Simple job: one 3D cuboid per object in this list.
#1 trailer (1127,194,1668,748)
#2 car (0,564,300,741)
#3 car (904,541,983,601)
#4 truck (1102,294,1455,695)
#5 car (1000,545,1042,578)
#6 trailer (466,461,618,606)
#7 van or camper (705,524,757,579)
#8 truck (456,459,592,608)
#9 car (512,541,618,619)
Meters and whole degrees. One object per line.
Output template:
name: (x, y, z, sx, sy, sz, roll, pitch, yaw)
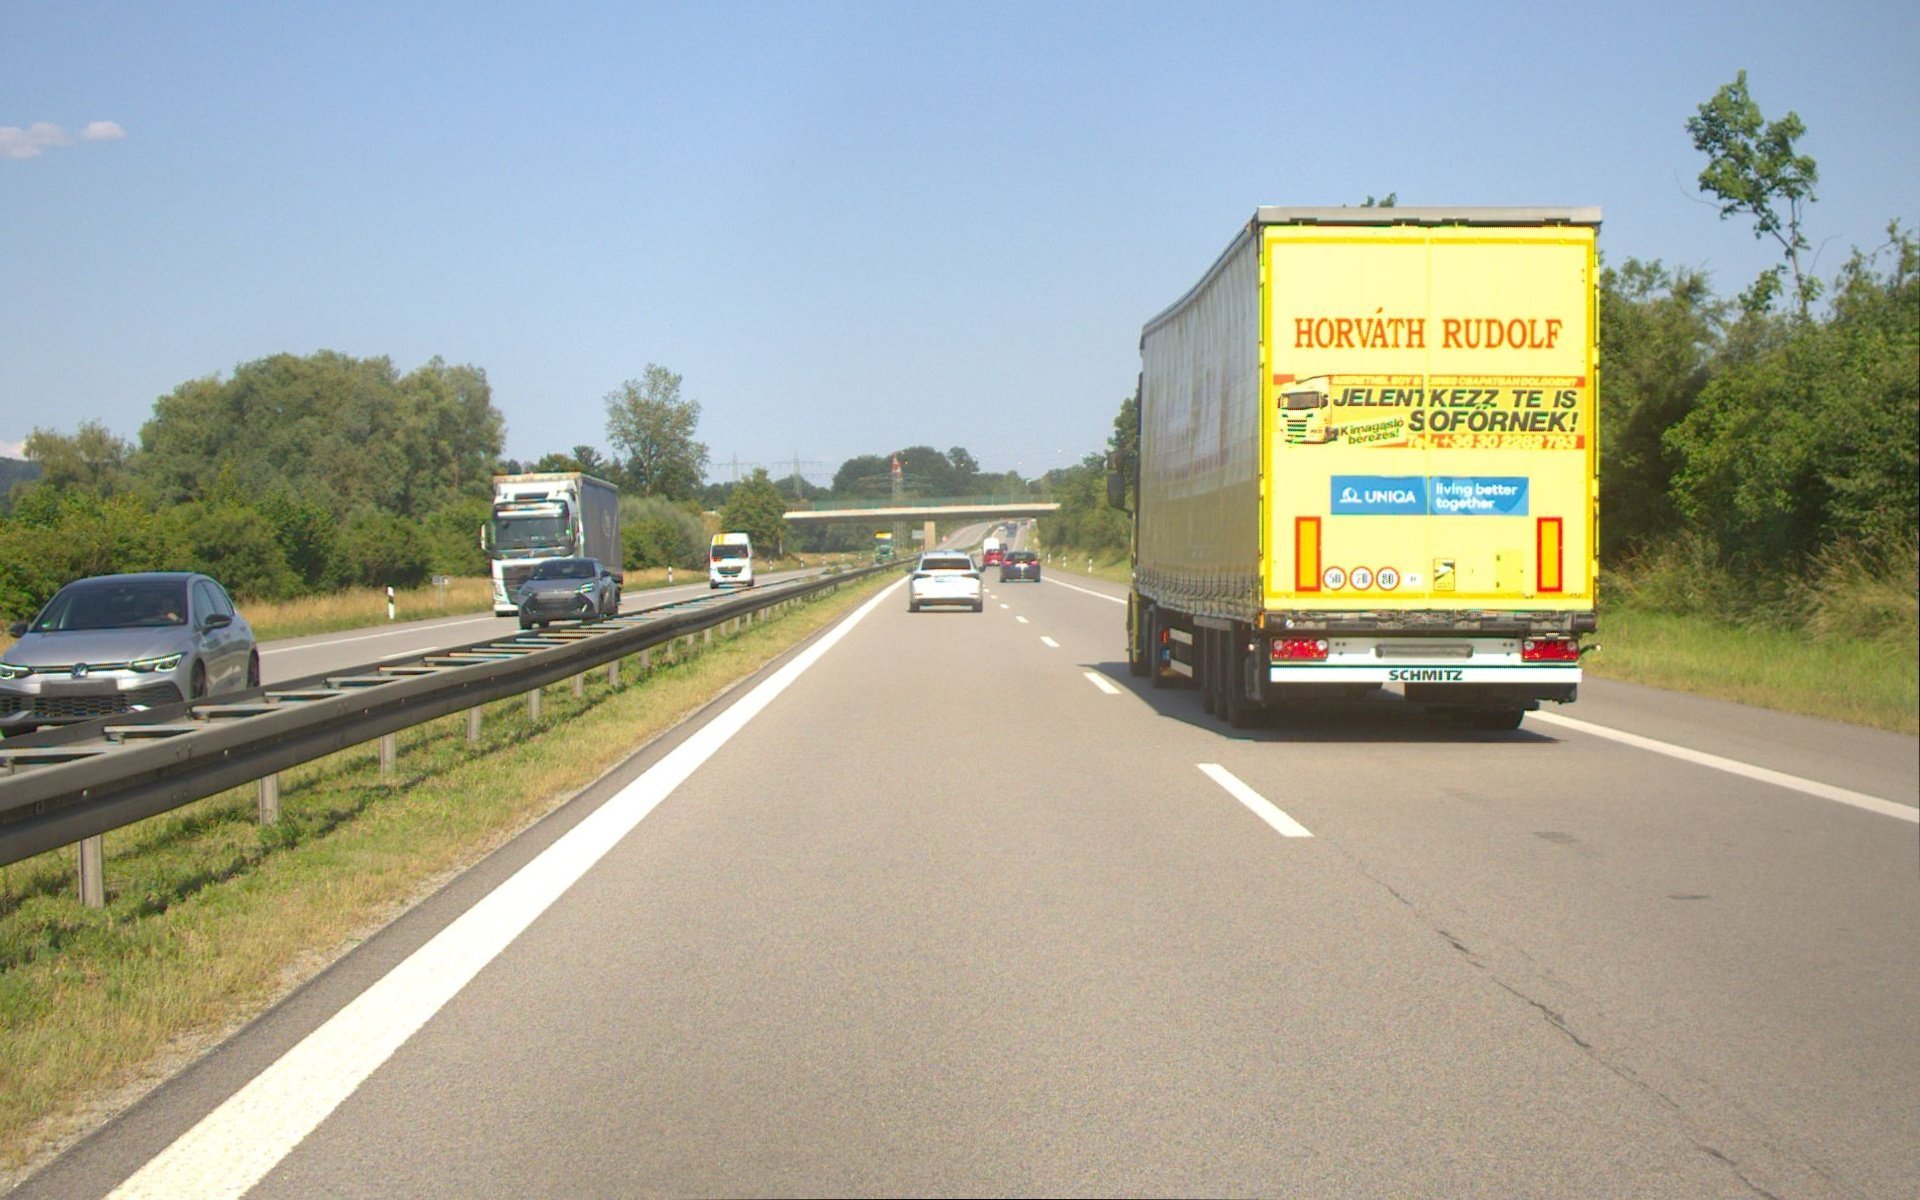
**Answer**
trailer: (3.549, -1.035, 31.949, 3.184, 4.045, 13.187, 1, 1, 0)
car: (-7.626, 0.439, 32.409, 1.767, 1.415, 4.470, -4, 1, 1)
car: (-0.383, -0.726, 83.802, 1.843, 1.411, 4.000, 1, 1, 0)
truck: (3.418, -1.127, 38.637, 3.168, 4.100, 6.389, 1, 1, -1)
car: (2.828, -1.805, 159.874, 1.843, 1.515, 4.000, 1, 1, 0)
trailer: (-12.970, -2.043, 108.014, 3.184, 4.045, 14.599, -3, 1, -2)
van or camper: (-10.930, -2.315, 164.345, 1.993, 2.488, 7.228, -3, 1, -1)
truck: (-12.797, -1.950, 101.475, 3.168, 4.100, 6.389, -3, 1, -1)
car: (-8.883, -0.468, 77.624, 1.725, 1.577, 4.768, -4, 1, 0)
